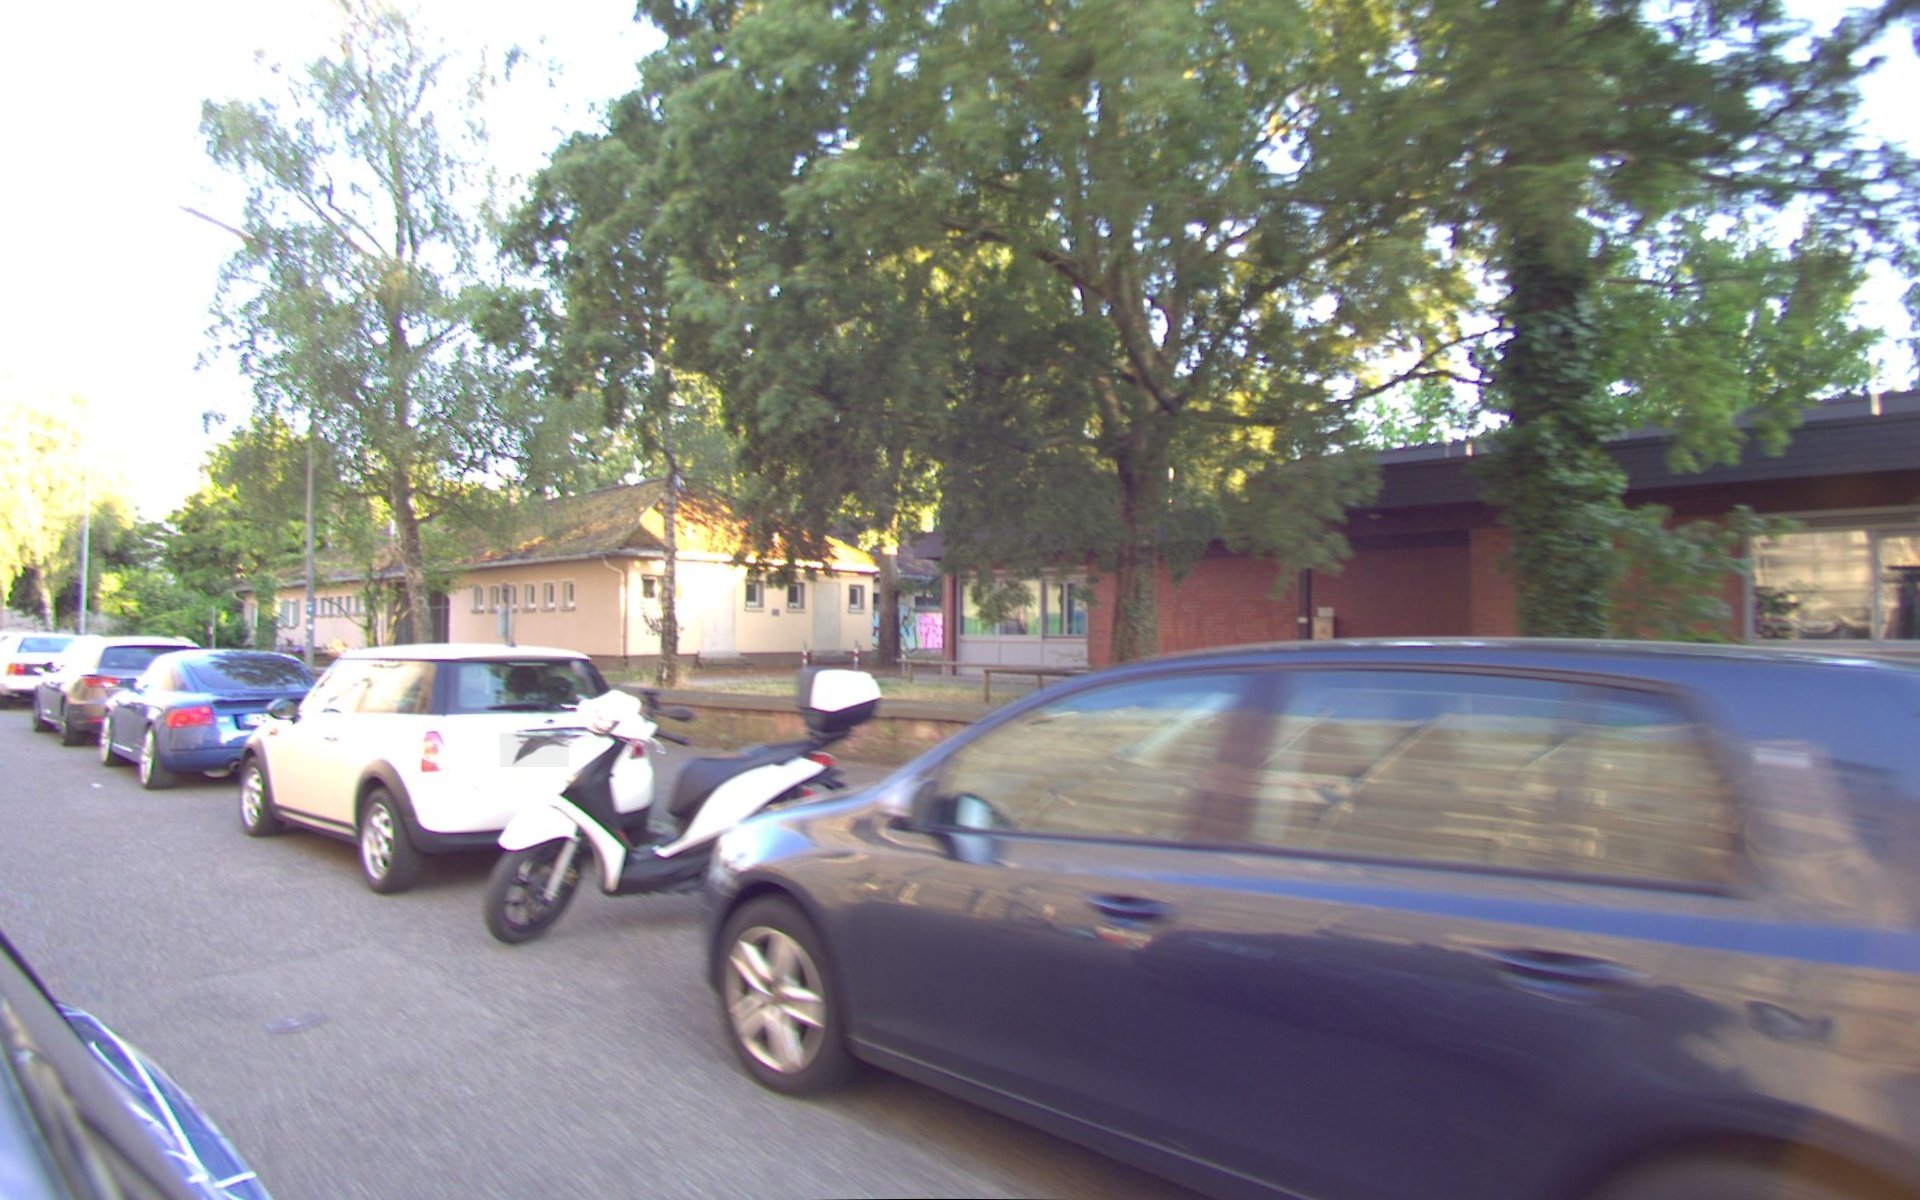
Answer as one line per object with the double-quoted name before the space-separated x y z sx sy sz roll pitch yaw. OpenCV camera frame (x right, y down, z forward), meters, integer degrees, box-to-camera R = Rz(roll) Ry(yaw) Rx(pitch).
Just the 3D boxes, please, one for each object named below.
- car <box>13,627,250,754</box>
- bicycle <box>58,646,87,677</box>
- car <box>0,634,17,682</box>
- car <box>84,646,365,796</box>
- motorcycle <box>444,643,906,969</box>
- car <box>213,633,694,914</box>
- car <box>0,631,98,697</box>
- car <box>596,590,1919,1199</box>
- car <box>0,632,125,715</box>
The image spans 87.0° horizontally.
"car" -12.111 1.209 14.677 4.756 1.550 1.840 -2 -4 41
"bicycle" -33.162 2.285 37.813 1.953 1.126 0.538 -2 -2 40
"car" -31.496 1.840 32.089 4.287 1.464 1.972 -2 -3 42
"car" -8.194 1.191 11.125 4.153 1.323 1.641 -2 -4 42
"motorcycle" -1.425 0.908 5.244 2.135 1.313 0.882 0 -2 -34
"car" -3.679 0.991 7.082 3.801 1.442 1.584 -2 -5 40
"car" -22.330 1.479 24.138 3.995 1.464 1.974 -2 -2 39
"car" 0.864 0.816 3.015 4.357 1.508 1.698 -2 -4 40
"car" -18.329 1.423 20.187 4.746 1.457 1.764 -2 -5 41
